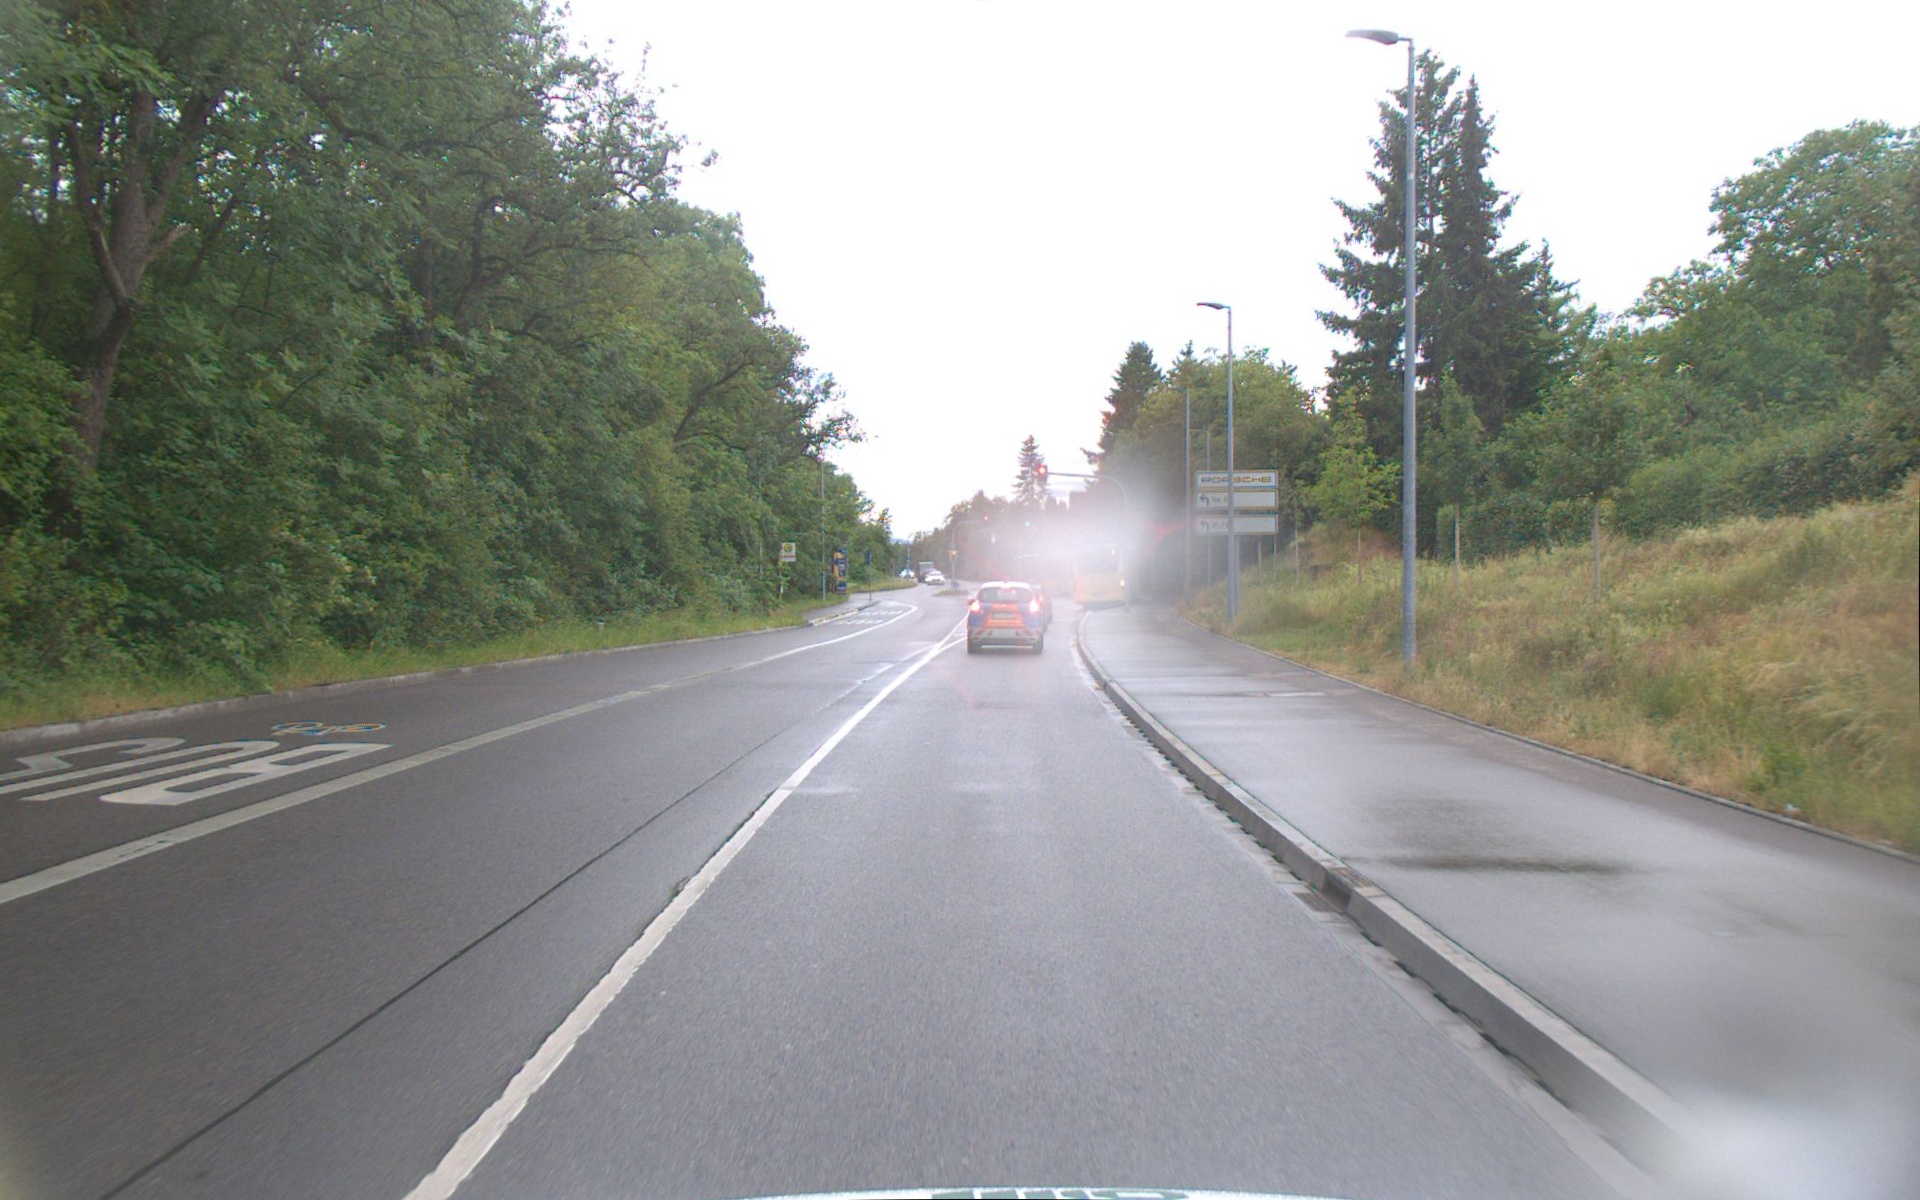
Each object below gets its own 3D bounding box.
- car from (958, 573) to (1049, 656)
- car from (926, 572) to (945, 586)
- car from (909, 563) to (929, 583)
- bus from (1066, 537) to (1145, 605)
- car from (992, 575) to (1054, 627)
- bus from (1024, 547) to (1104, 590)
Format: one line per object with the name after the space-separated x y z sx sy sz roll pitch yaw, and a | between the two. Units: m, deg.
0.979 0.287 38.137 1.952 1.718 4.001 -1 2 1 | car
-2.737 -2.289 183.131 1.954 1.445 3.997 1 0 -4 | car
-5.203 -3.379 207.391 2.224 2.376 5.584 1 0 -4 | car
7.390 -1.366 82.685 2.757 3.197 9.188 1 0 12 | bus
1.983 -0.001 53.106 1.887 1.512 3.800 -1 2 1 | car
7.222 -2.145 116.471 2.768 2.855 10.605 1 0 -13 | bus
